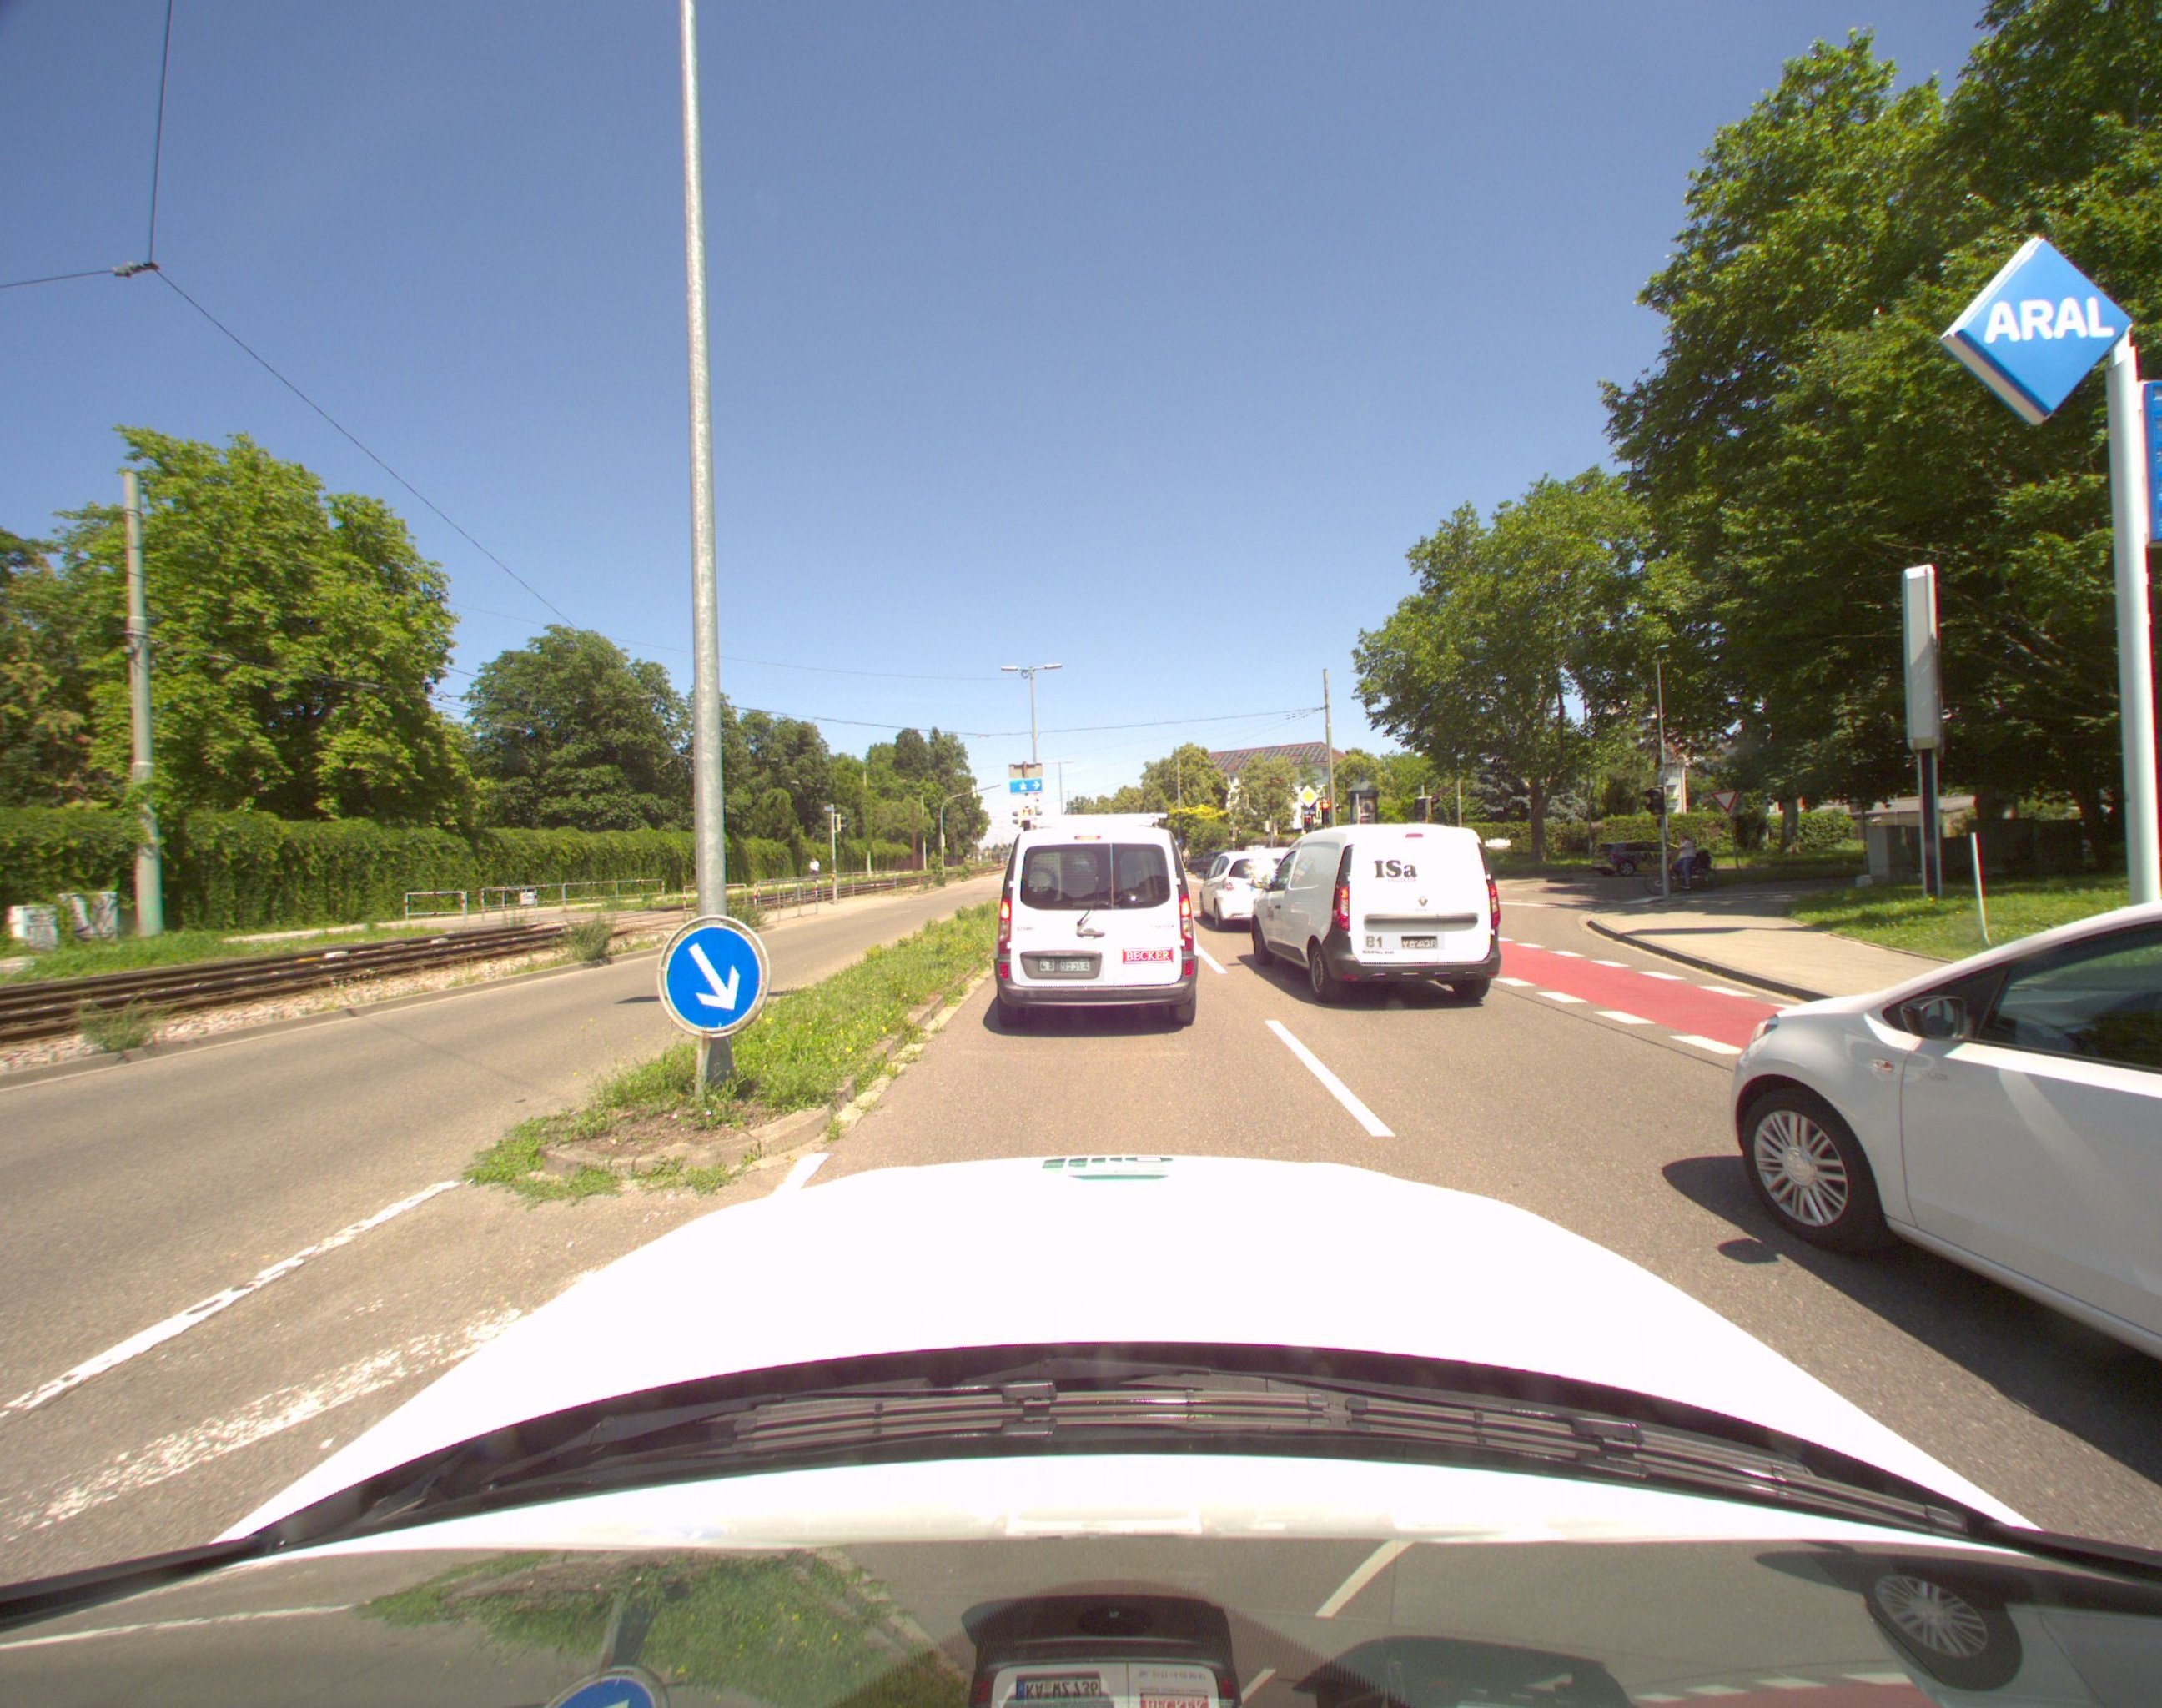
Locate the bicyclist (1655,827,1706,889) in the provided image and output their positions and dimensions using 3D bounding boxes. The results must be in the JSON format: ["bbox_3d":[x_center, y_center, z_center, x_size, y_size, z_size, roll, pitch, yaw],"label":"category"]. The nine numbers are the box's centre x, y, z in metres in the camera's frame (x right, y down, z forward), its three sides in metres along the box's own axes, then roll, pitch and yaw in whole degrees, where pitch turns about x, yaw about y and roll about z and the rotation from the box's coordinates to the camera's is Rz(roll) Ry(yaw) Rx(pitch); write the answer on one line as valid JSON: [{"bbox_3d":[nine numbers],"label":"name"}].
[{"bbox_3d":[17.320,0.104,23.556,0.946,1.739,1.138,-2,0,24],"label":"bicyclist"}]

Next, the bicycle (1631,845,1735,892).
[{"bbox_3d":[17.364,0.422,23.562,2.241,1.269,0.892,-2,0,24],"label":"bicycle"}]

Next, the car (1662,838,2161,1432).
[{"bbox_3d":[3.460,0.685,2.014,1.601,1.451,3.522,-2,0,2],"label":"car"}]

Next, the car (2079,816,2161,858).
[{"bbox_3d":[43.805,-0.728,32.831,4.419,1.617,2.003,-2,0,5],"label":"car"}]

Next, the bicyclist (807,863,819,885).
[{"bbox_3d":[-18.138,1.340,55.129,0.556,1.478,0.562,-2,0,2],"label":"bicyclist"}]

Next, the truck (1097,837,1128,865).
[{"bbox_3d":[4.349,-0.413,114.190,3.568,3.632,8.799,-2,0,-3],"label":"truck"}]

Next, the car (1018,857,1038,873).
[{"bbox_3d":[-4.805,1.007,74.493,1.688,1.311,3.879,-5,-1,-3],"label":"car"}]

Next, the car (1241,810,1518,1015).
[{"bbox_3d":[3.143,0.537,9.499,1.705,1.830,4.012,-2,0,0],"label":"car"}]

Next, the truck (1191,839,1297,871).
[{"bbox_3d":[11.027,0.080,55.288,6.642,2.013,2.321,-2,0,28],"label":"truck"}]

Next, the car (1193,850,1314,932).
[{"bbox_3d":[3.440,0.675,16.946,1.749,1.486,4.001,0,0,1],"label":"car"}]

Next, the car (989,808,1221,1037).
[{"bbox_3d":[0.218,0.559,8.570,1.860,1.836,3.849,-1,0,0],"label":"car"}]

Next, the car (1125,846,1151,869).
[{"bbox_3d":[4.874,0.290,69.702,1.986,1.915,4.002,-2,0,2],"label":"car"}]

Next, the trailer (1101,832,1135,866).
[{"bbox_3d":[4.681,-0.614,105.338,3.519,4.050,8.969,-2,0,-2],"label":"trailer"}]

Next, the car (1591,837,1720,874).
[{"bbox_3d":[23.167,0.063,32.977,3.964,1.379,1.548,-2,0,10],"label":"car"}]

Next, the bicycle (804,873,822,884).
[{"bbox_3d":[-18.134,1.651,55.070,0.559,0.647,1.721,-2,0,3],"label":"bicycle"}]
